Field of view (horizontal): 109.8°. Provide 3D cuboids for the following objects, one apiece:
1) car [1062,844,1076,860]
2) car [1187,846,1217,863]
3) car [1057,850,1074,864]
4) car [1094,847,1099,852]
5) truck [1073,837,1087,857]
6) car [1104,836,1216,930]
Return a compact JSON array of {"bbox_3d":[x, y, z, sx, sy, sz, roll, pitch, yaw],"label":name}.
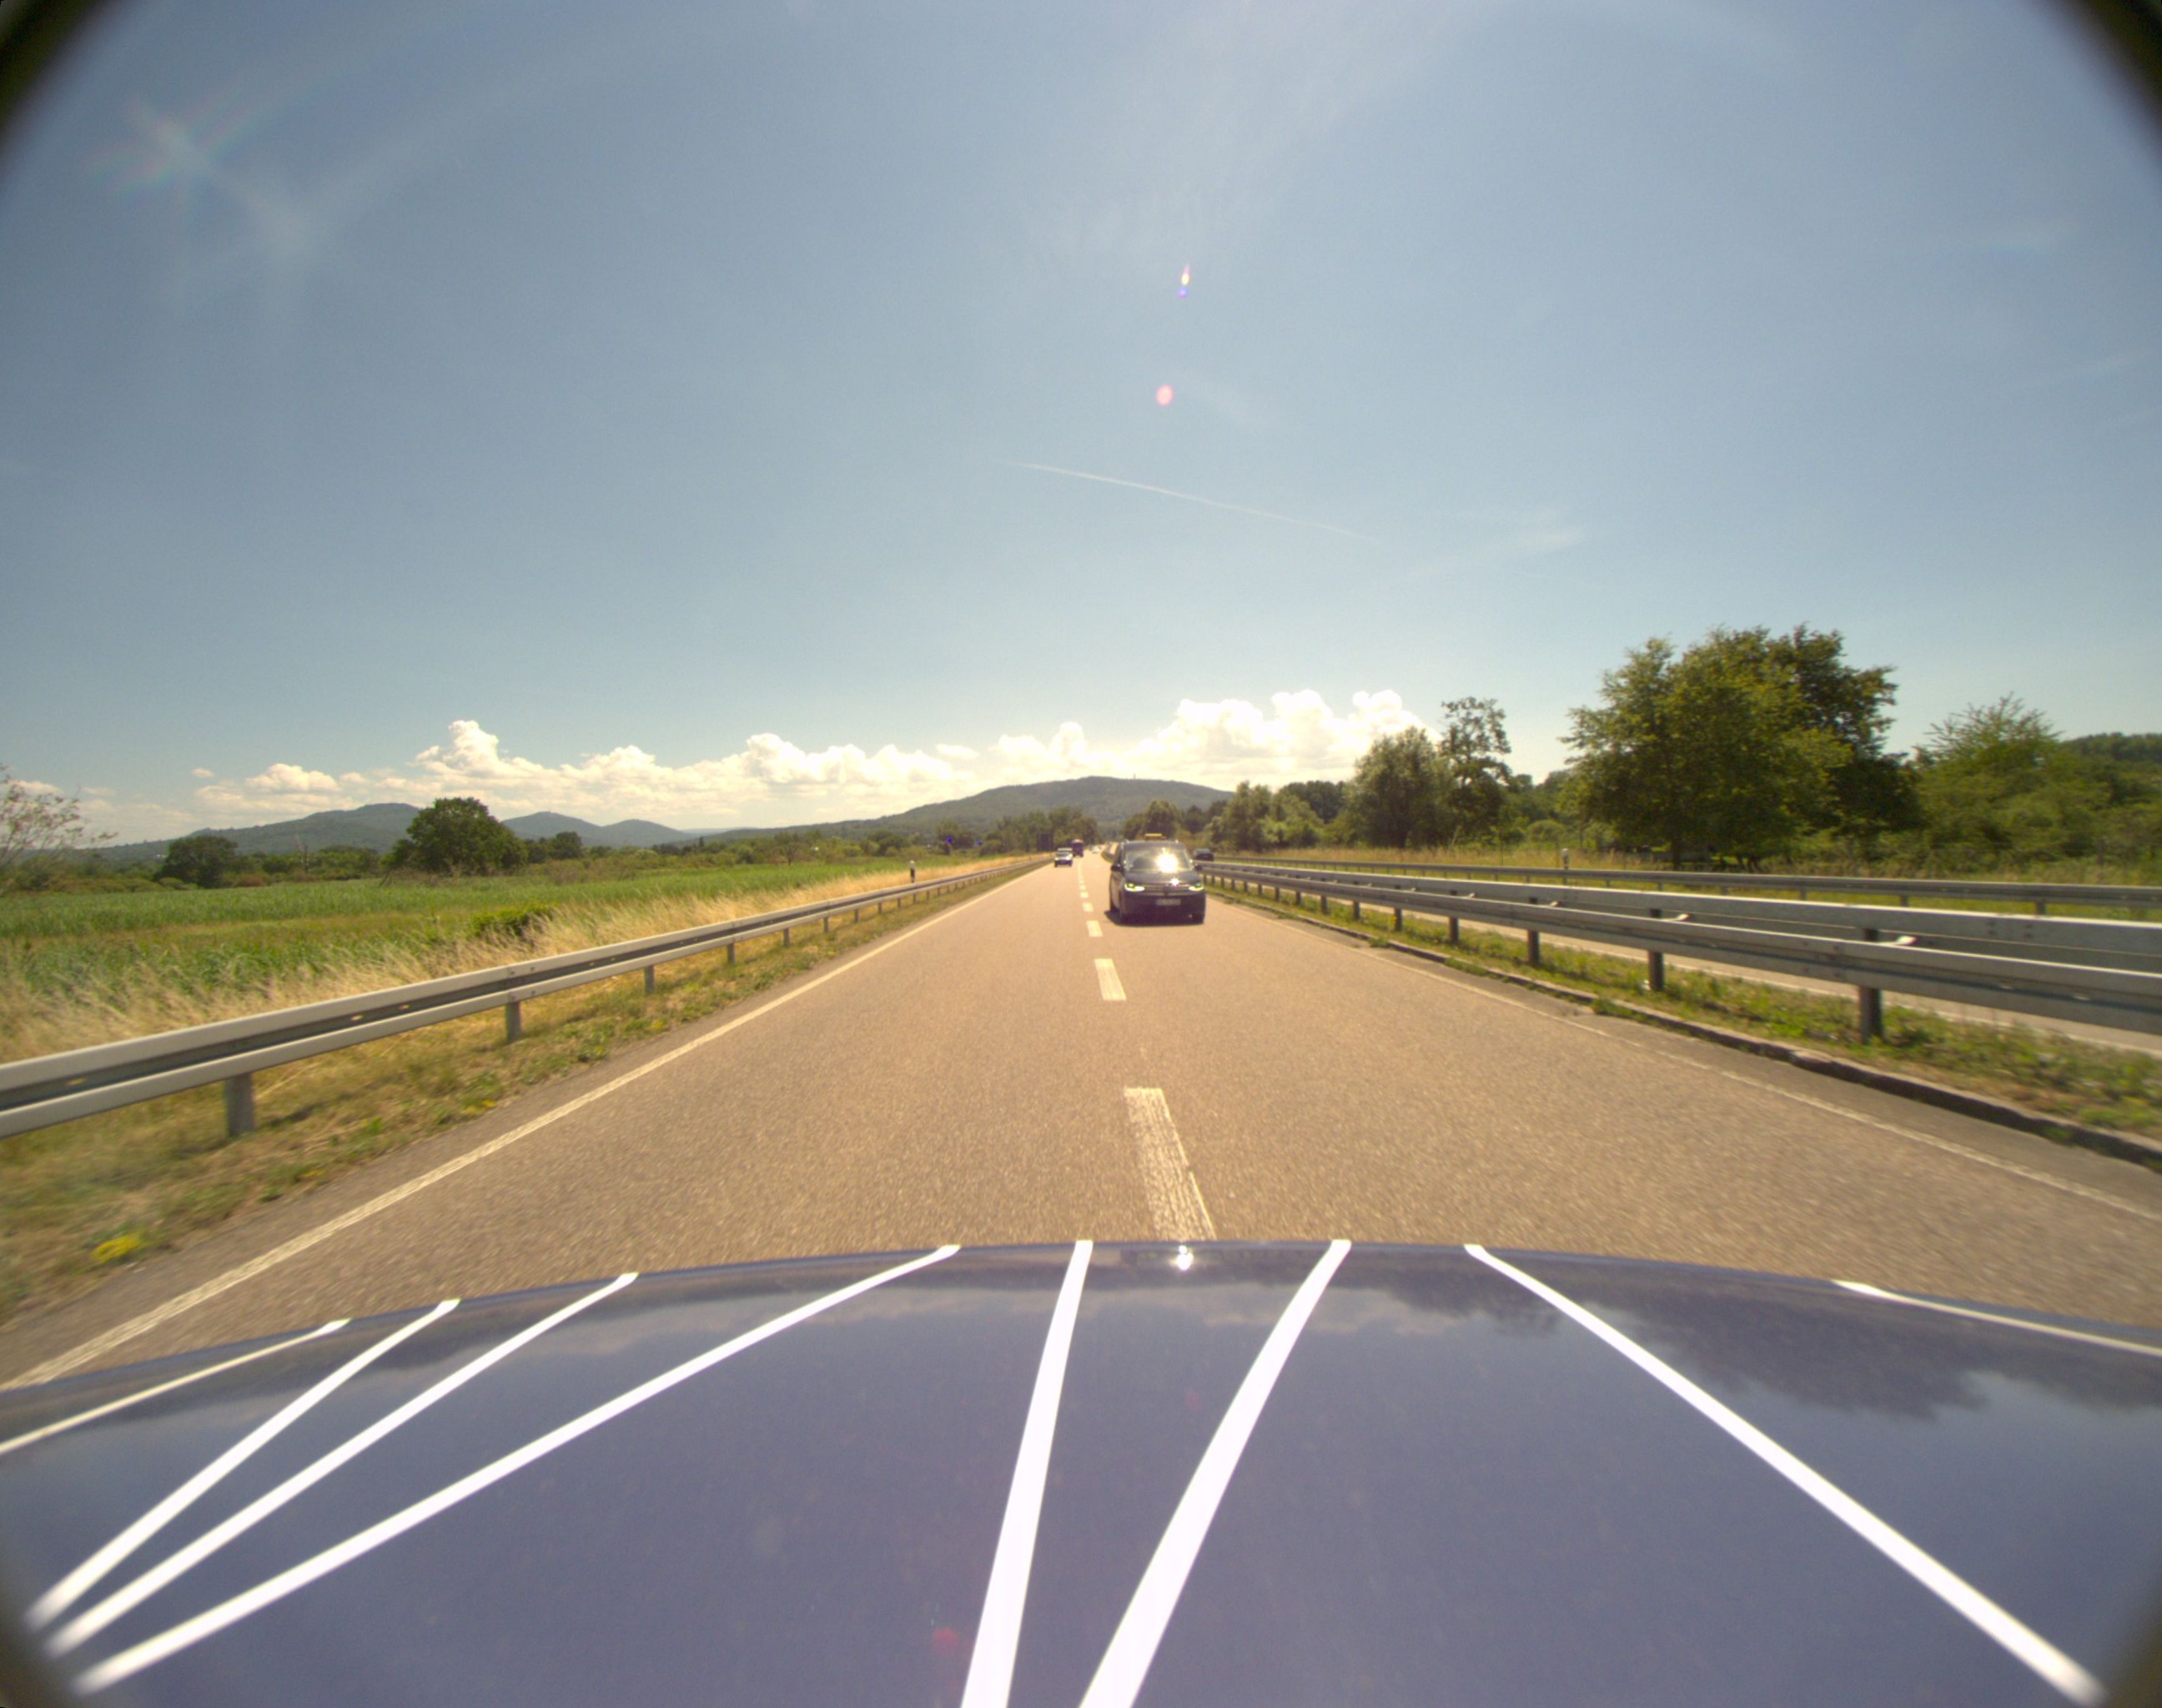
[{"bbox_3d":[-1.560,-0.259,98.948,1.619,2.086,3.485,-2,1,1],"label":"car"},{"bbox_3d":[11.984,0.032,75.645,1.999,1.599,4.961,-1,1,-2],"label":"car"},{"bbox_3d":[-1.591,0.311,80.431,1.577,1.387,3.485,-2,1,1],"label":"car"},{"bbox_3d":[4.861,-1.415,237.096,1.619,1.545,3.485,-2,1,1],"label":"car"},{"bbox_3d":[-0.200,-1.618,169.598,2.827,4.143,9.947,-2,1,1],"label":"truck"},{"bbox_3d":[1.699,0.574,18.183,1.859,1.876,5.571,-1,0,-2],"label":"car"}]
